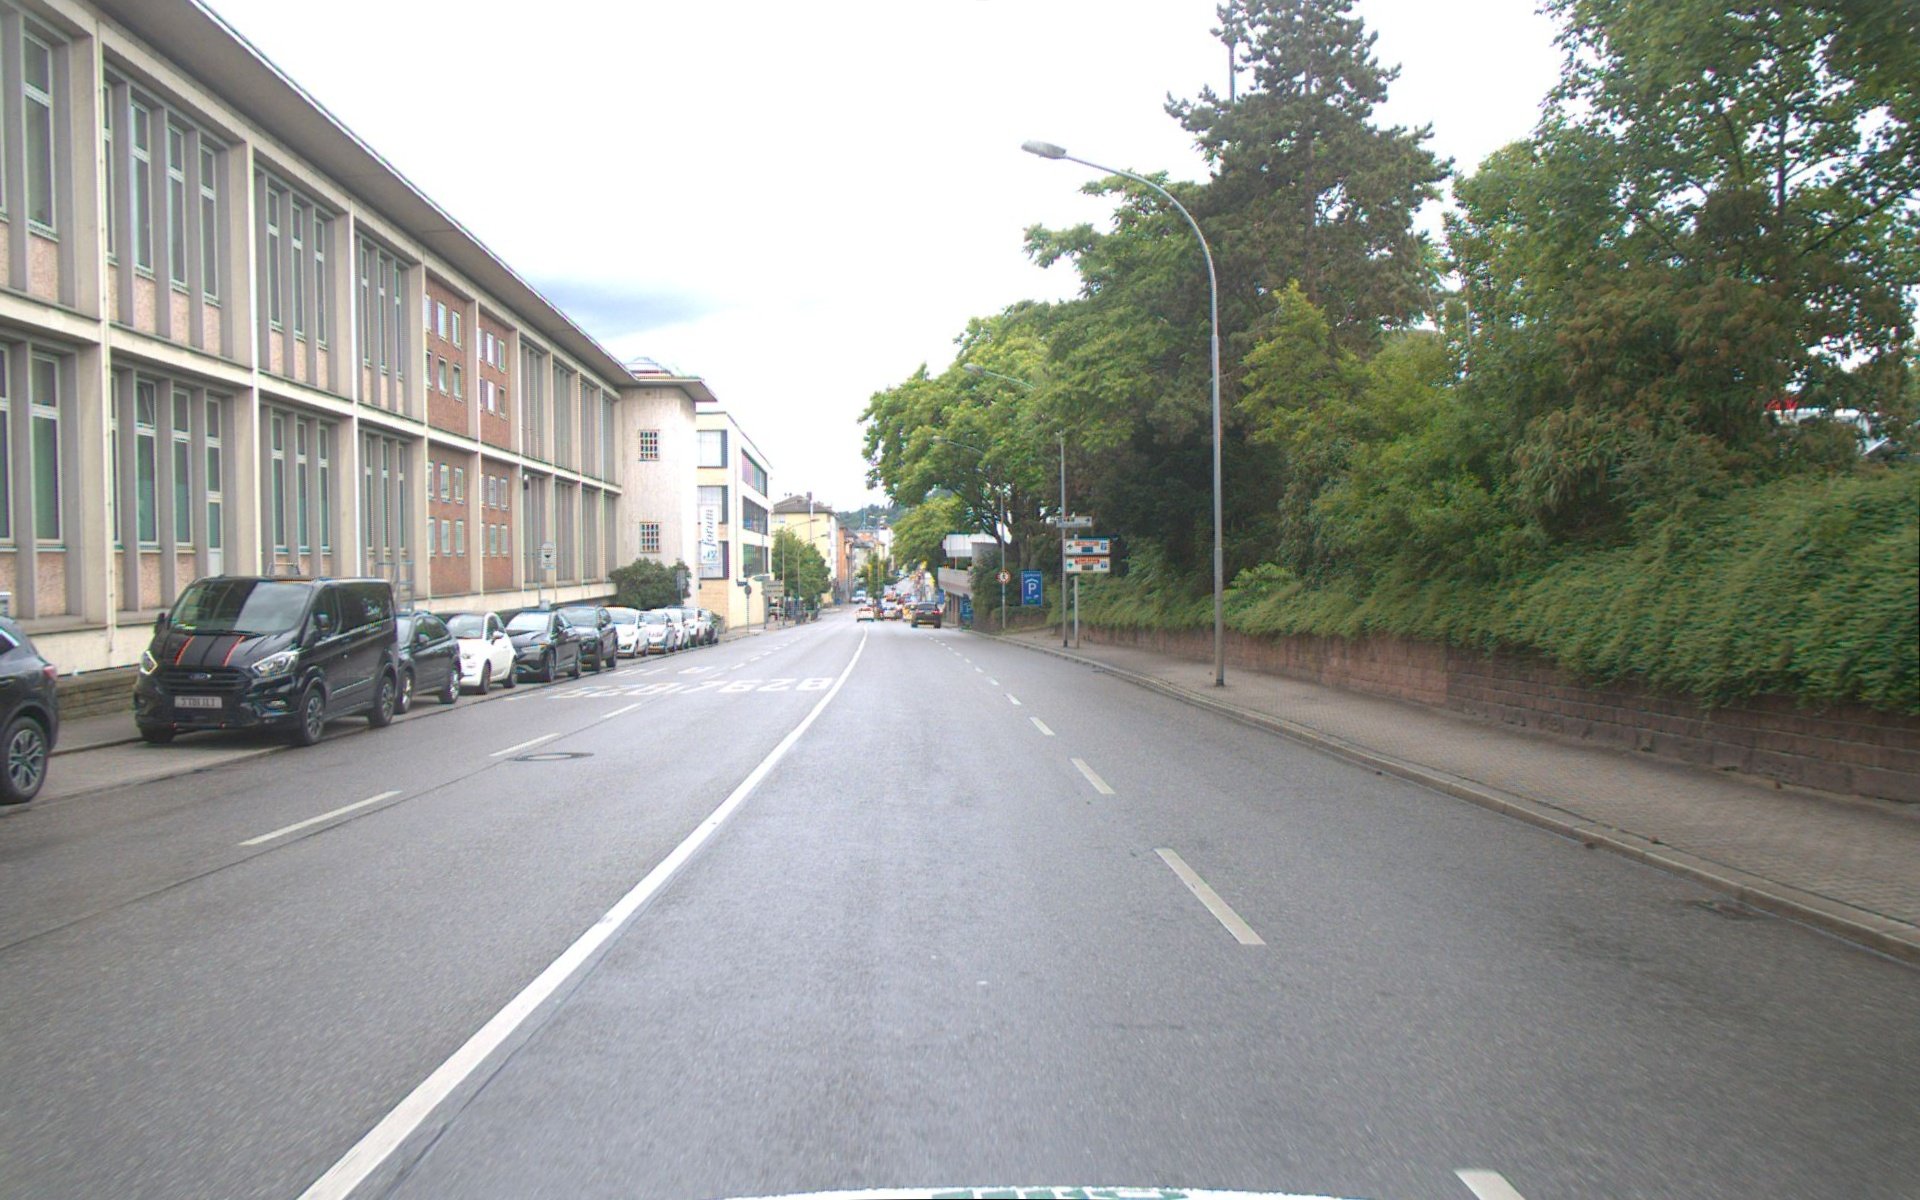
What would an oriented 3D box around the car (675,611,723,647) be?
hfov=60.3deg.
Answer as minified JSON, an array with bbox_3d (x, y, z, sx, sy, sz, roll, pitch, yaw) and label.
[{"bbox_3d":[-11.497,1.269,72.971,1.713,1.506,4.177,1,0,-4],"label":"car"}]

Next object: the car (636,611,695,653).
[{"bbox_3d":[-11.085,1.178,62.485,1.713,1.479,4.177,1,0,-4],"label":"car"}]

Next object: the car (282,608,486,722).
[{"bbox_3d":[-9.121,0.970,26.573,1.823,1.579,4.311,-1,0,-1],"label":"car"}]

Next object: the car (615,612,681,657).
[{"bbox_3d":[-10.710,1.167,57.036,1.713,1.460,4.482,1,-1,-4],"label":"car"}]

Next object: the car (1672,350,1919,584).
[{"bbox_3d":[9.727,-1.331,17.184,3.901,2.258,2.002,-1,0,10],"label":"car"}]

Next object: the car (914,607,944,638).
[{"bbox_3d":[-2.271,1.598,119.588,2.050,1.943,4.098,-3,1,-2],"label":"car"}]

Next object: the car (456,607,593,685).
[{"bbox_3d":[-9.412,0.945,36.140,1.779,1.510,4.908,-1,0,-1],"label":"car"}]

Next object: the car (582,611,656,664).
[{"bbox_3d":[-10.642,1.146,51.811,1.645,1.549,3.918,-1,0,-3],"label":"car"}]

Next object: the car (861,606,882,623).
[{"bbox_3d":[-9.550,1.556,177.596,1.956,1.709,3.993,-1,0,-8],"label":"car"}]

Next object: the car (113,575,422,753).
[{"bbox_3d":[-8.596,0.702,21.090,1.909,1.978,4.995,-1,0,-1],"label":"car"}]

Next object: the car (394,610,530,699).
[{"bbox_3d":[-9.358,0.982,31.320,1.534,1.510,3.552,-1,0,-1],"label":"car"}]

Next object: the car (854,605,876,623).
[{"bbox_3d":[-9.700,1.412,169.232,1.956,1.709,3.993,0,0,-8],"label":"car"}]

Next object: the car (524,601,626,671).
[{"bbox_3d":[-9.830,0.913,42.563,1.805,1.682,4.512,1,-1,-4],"label":"car"}]

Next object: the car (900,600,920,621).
[{"bbox_3d":[-4.984,1.015,165.332,1.953,1.869,3.999,-3,1,-2],"label":"car"}]

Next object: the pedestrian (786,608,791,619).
[{"bbox_3d":[-19.634,1.527,189.163,0.444,1.301,0.454,-1,0,8],"label":"pedestrian"}]

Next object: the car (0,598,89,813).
[{"bbox_3d":[-8.525,0.868,12.194,1.760,1.705,4.603,-1,0,0],"label":"car"}]

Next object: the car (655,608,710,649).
[{"bbox_3d":[-11.340,1.145,67.791,1.713,1.626,4.178,1,0,-3],"label":"car"}]
